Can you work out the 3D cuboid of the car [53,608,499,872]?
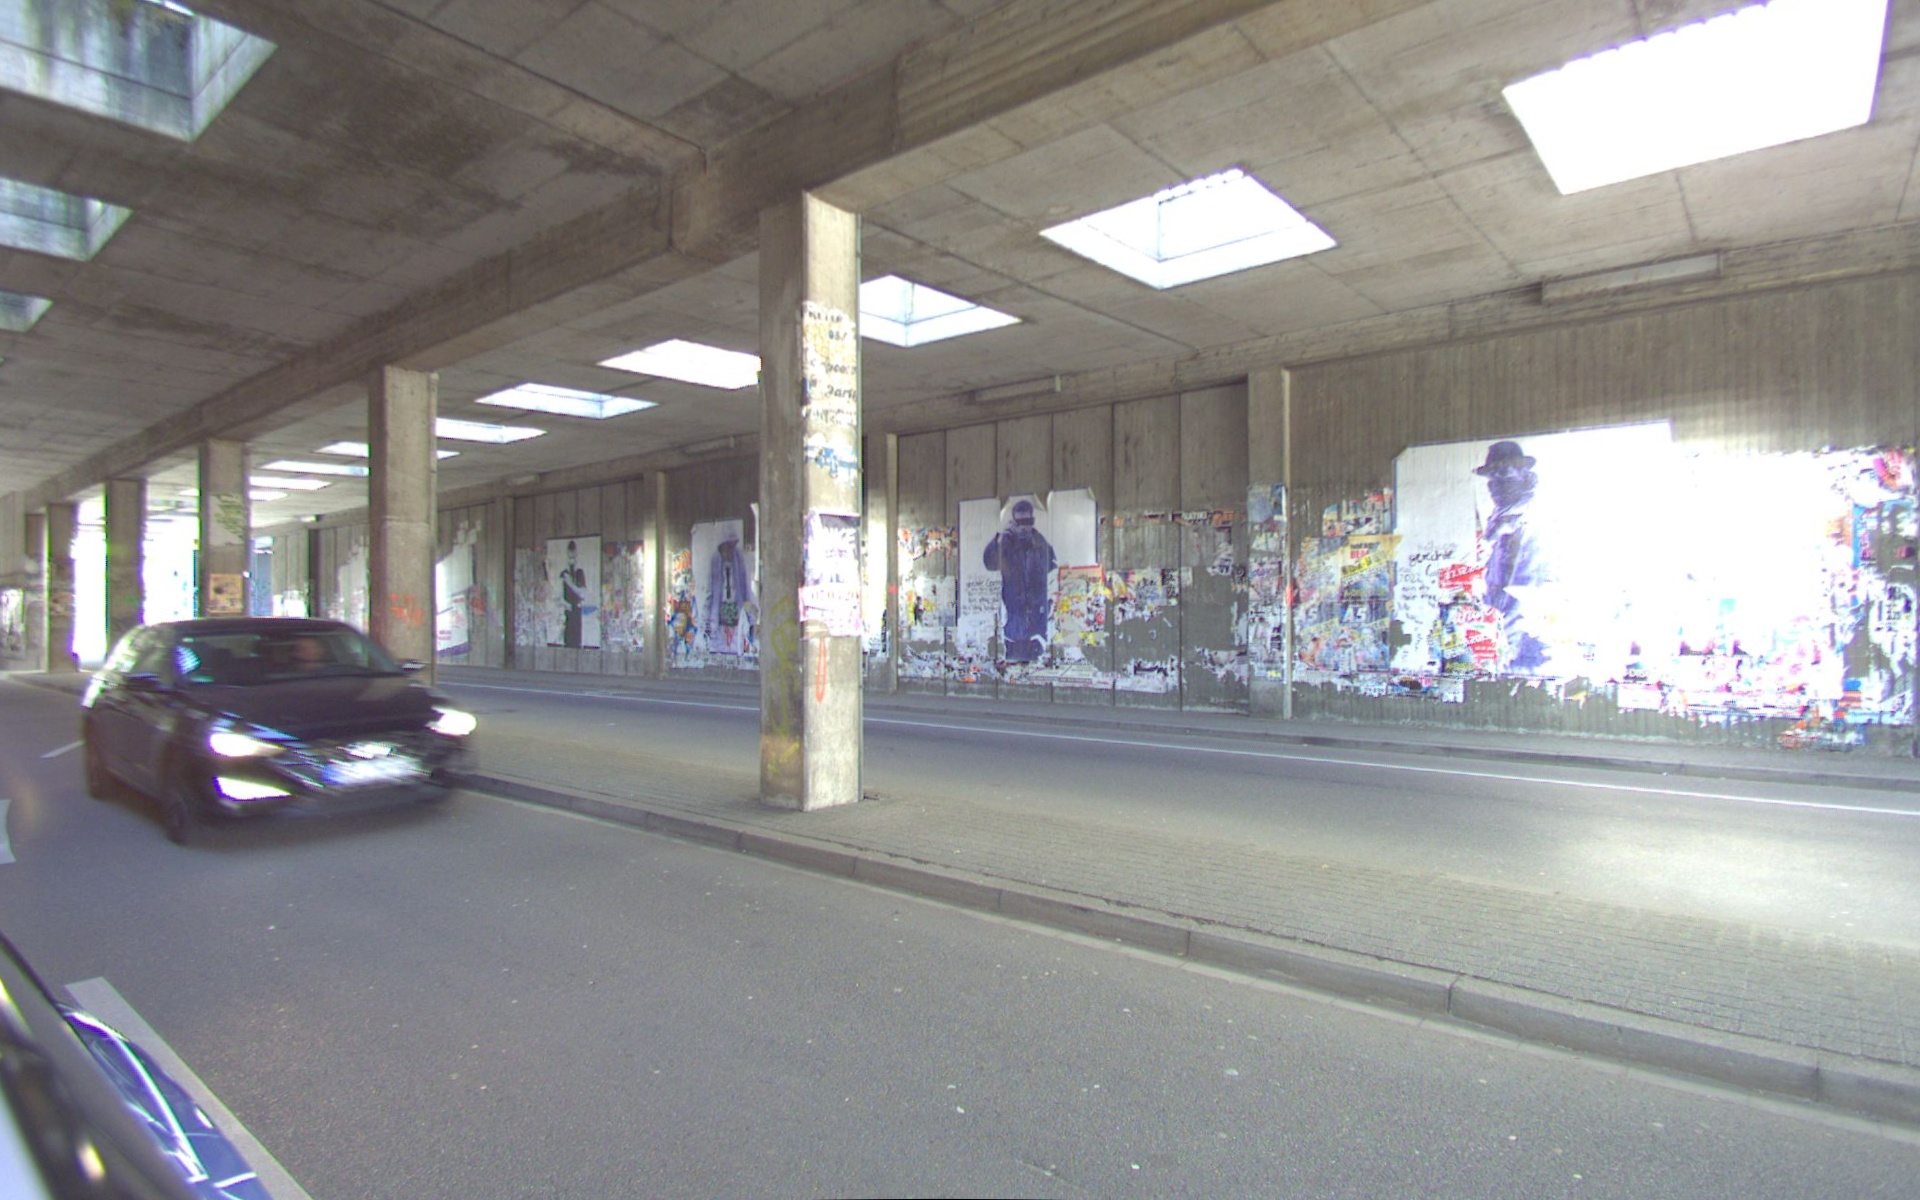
[{"bbox_3d":[-5.439,0.847,7.833,4.175,1.457,1.762,-1,1,40],"label":"car"}]
